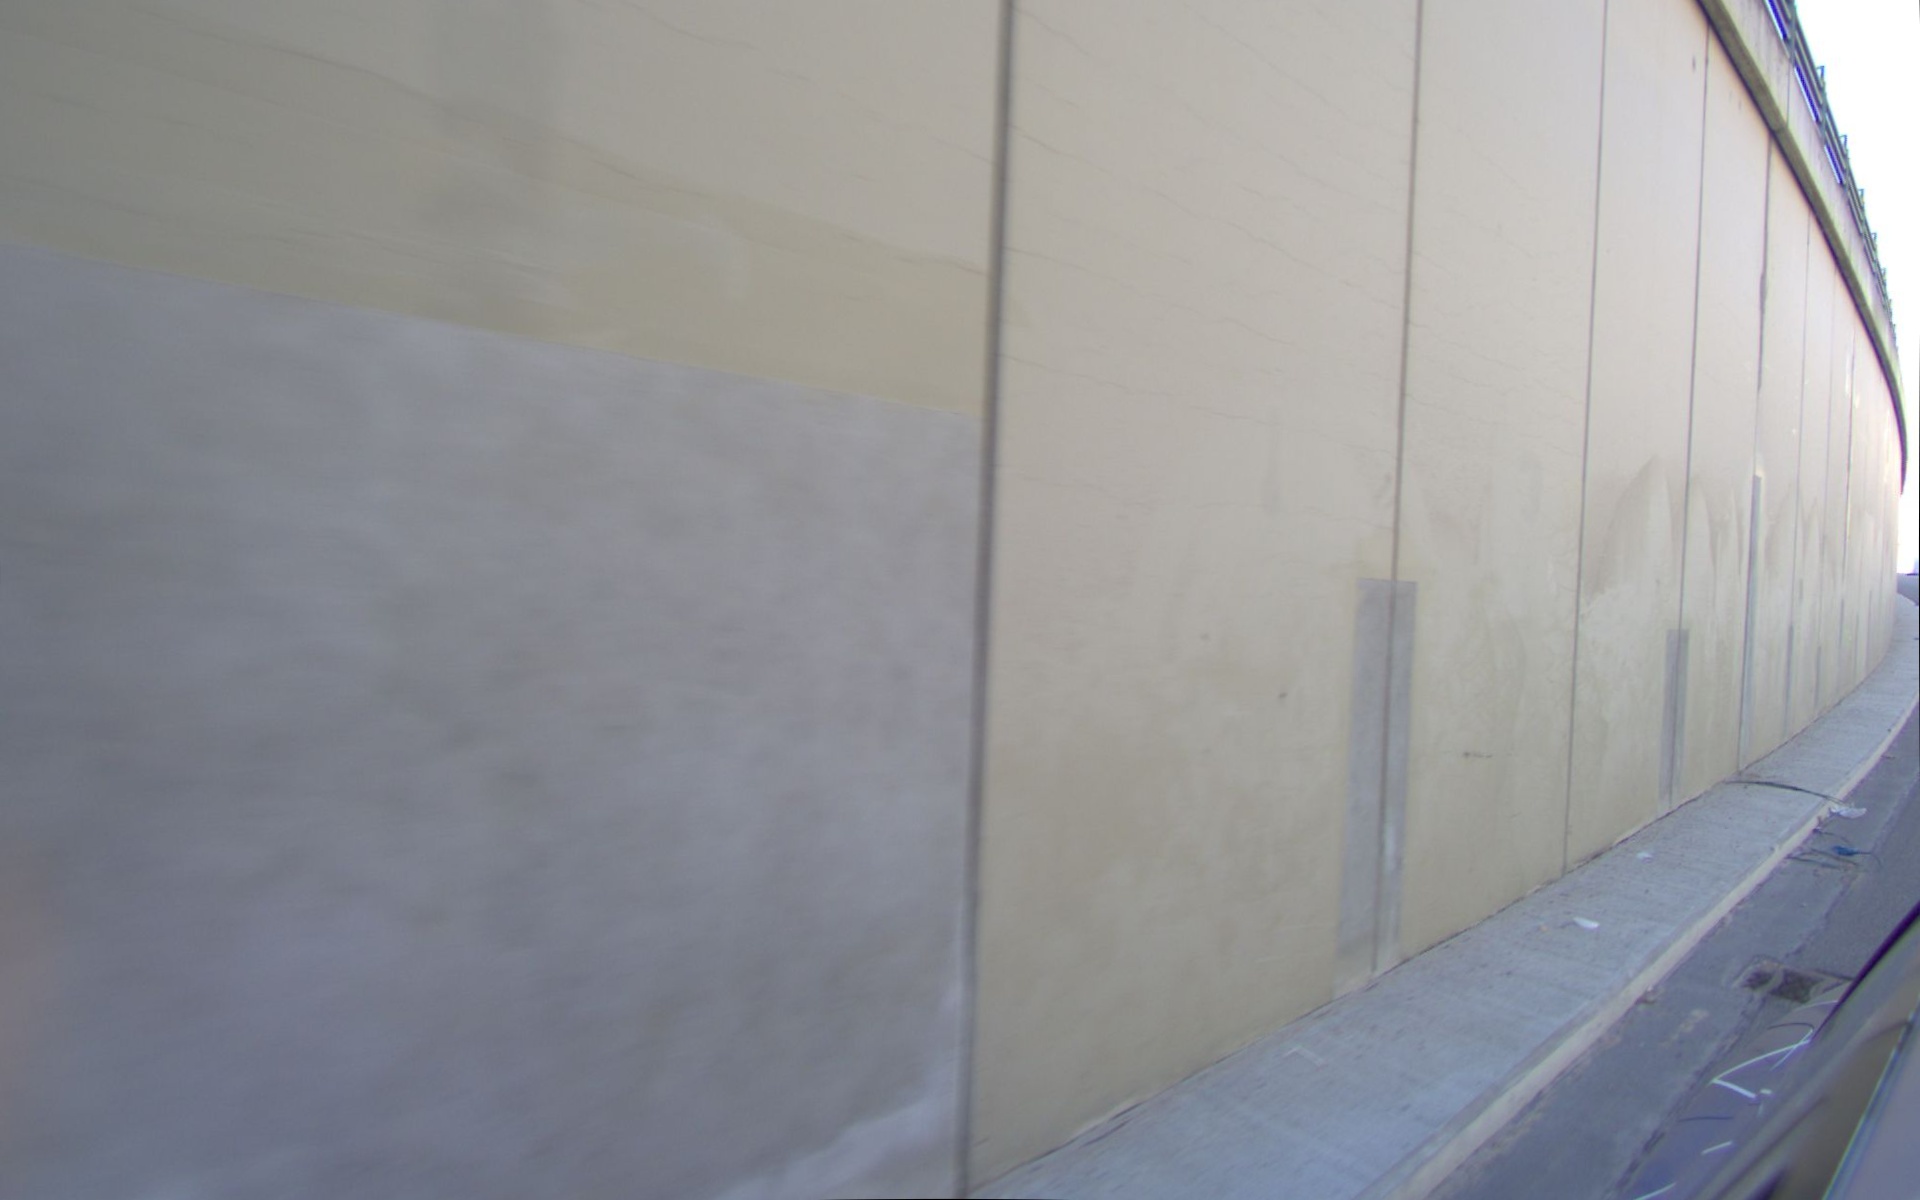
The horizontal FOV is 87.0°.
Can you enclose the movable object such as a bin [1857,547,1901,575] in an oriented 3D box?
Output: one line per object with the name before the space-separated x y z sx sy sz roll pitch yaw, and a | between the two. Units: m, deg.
movable object such as a bin | 86.690 -3.640 95.560 1.778 2.483 4.496 2 1 26
